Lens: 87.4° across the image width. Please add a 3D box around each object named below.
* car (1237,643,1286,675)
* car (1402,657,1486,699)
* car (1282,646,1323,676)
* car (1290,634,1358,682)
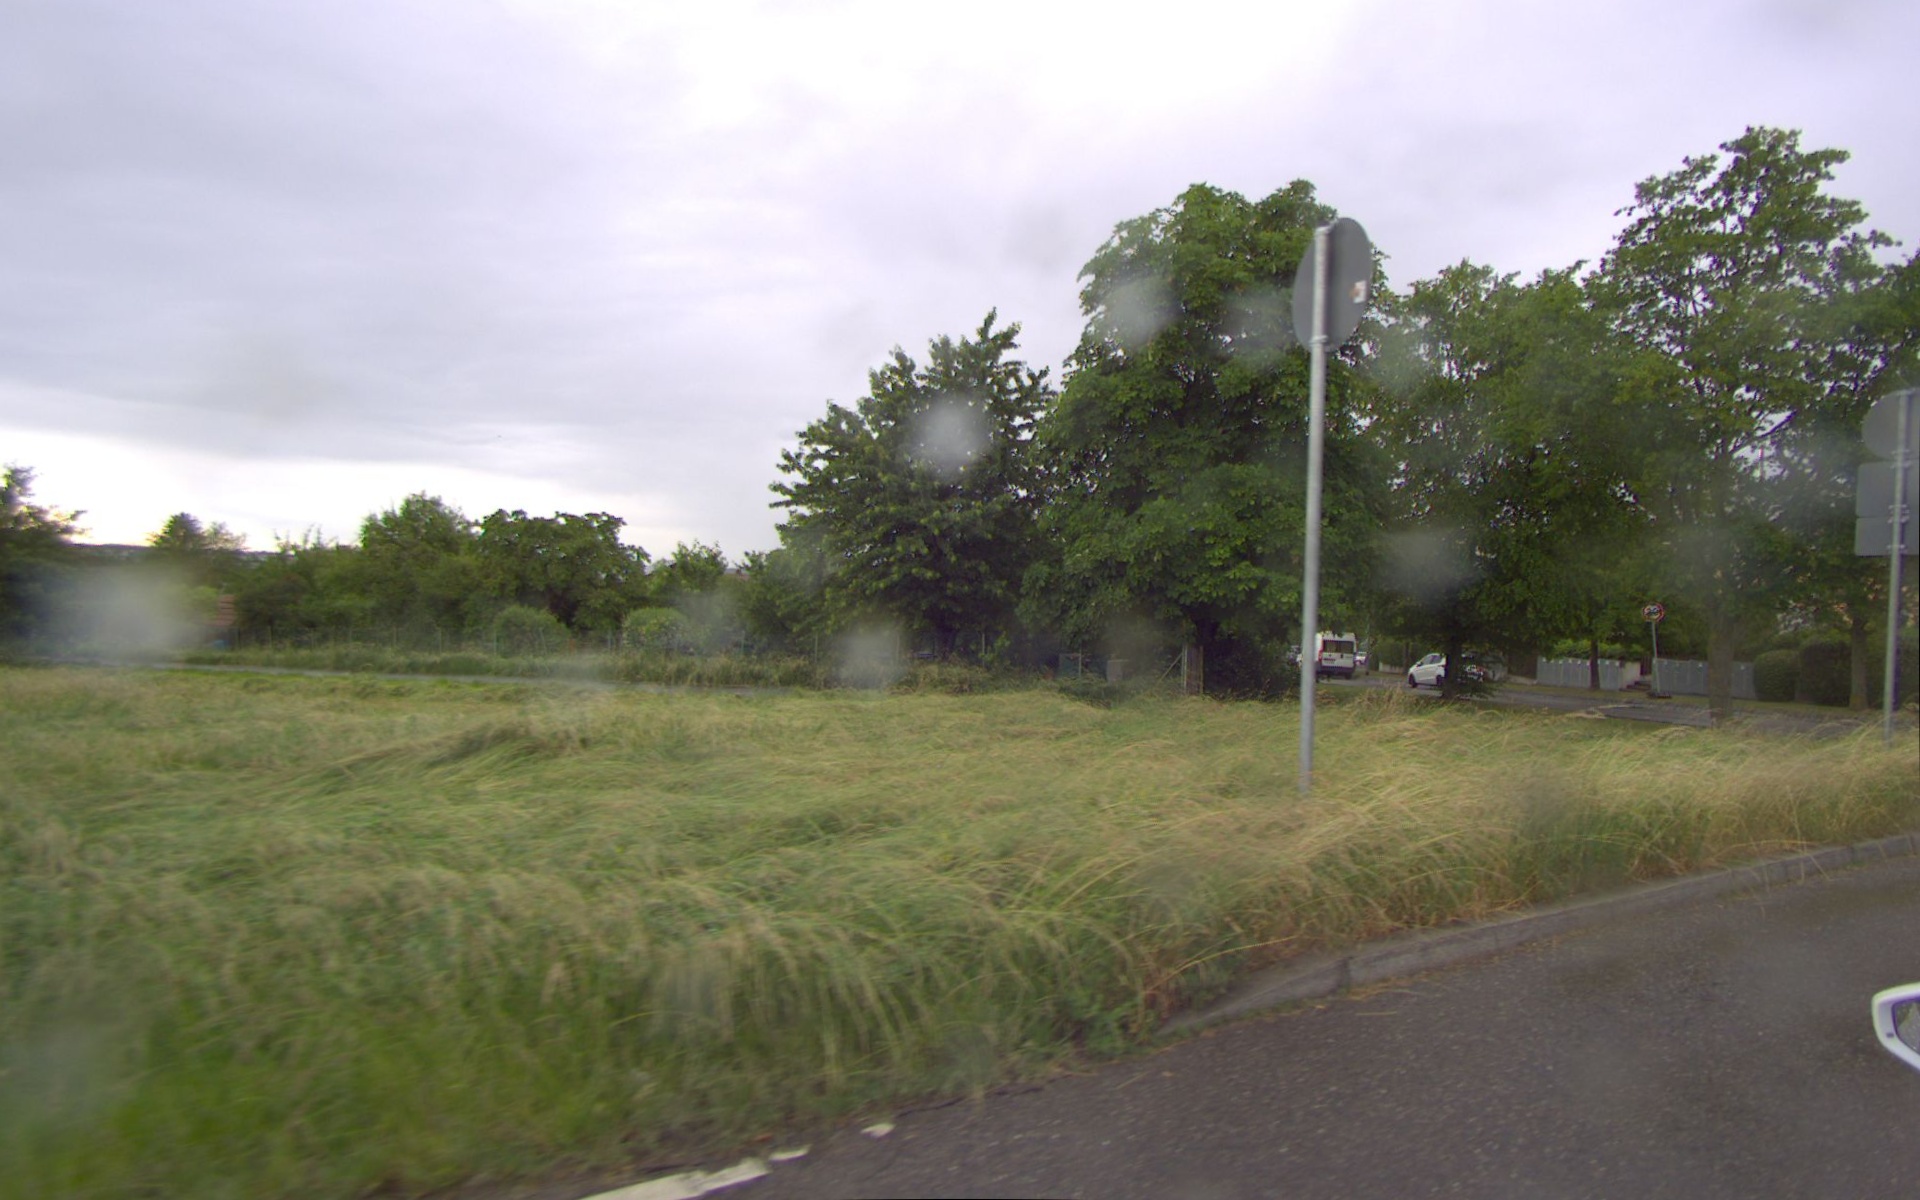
[{"bbox_3d":[17.374,3.356,57.975,1.658,1.572,3.697,3,-1,1],"label":"car"},{"bbox_3d":[19.847,3.162,41.358,1.579,1.522,3.727,3,-3,0],"label":"car"},{"bbox_3d":[21.077,3.739,61.951,1.657,1.572,3.699,2,0,8],"label":"car"},{"bbox_3d":[20.460,3.235,56.709,2.082,2.499,5.513,3,-3,4],"label":"car"}]
